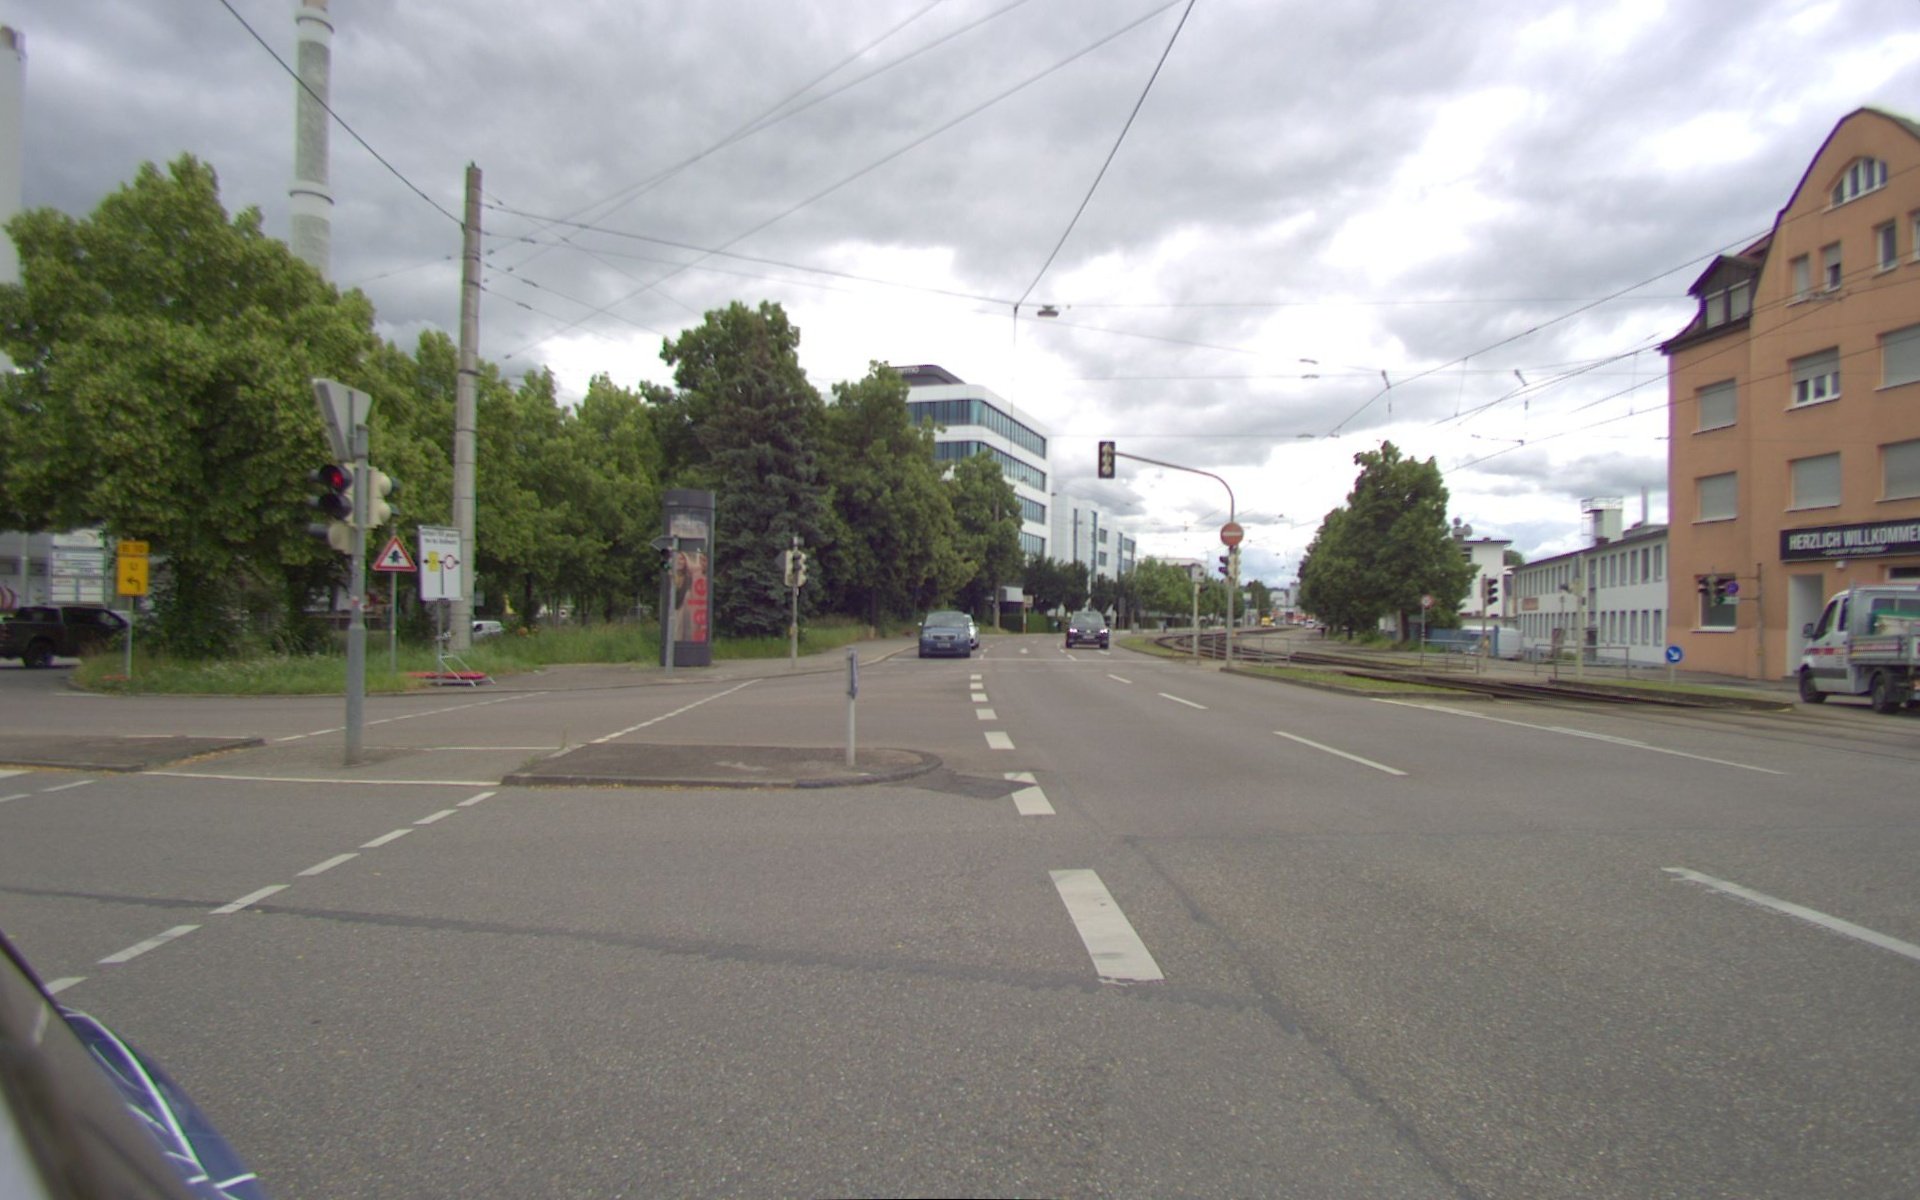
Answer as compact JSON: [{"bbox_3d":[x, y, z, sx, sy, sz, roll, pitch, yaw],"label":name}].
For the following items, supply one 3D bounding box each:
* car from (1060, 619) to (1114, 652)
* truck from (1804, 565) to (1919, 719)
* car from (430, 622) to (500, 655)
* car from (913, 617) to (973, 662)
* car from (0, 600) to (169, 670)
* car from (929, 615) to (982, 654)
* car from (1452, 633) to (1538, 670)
[{"bbox_3d":[5.553,1.513,43.935,1.618,1.342,3.151,0,-1,22],"label":"car"},{"bbox_3d":[17.338,0.772,18.020,2.310,2.440,5.601,2,-1,27],"label":"truck"},{"bbox_3d":[-31.461,2.415,64.448,1.973,1.675,4.762,1,2,2],"label":"car"},{"bbox_3d":[-0.512,1.251,33.019,1.726,1.402,3.699,0,-1,3],"label":"car"},{"bbox_3d":[-28.567,1.056,32.187,1.925,1.994,5.865,2,-1,3],"label":"car"},{"bbox_3d":[-0.128,1.343,40.187,1.728,1.437,4.158,0,-1,5],"label":"car"},{"bbox_3d":[33.311,3.139,62.938,6.193,2.117,1.754,0,-1,-32],"label":"car"}]
